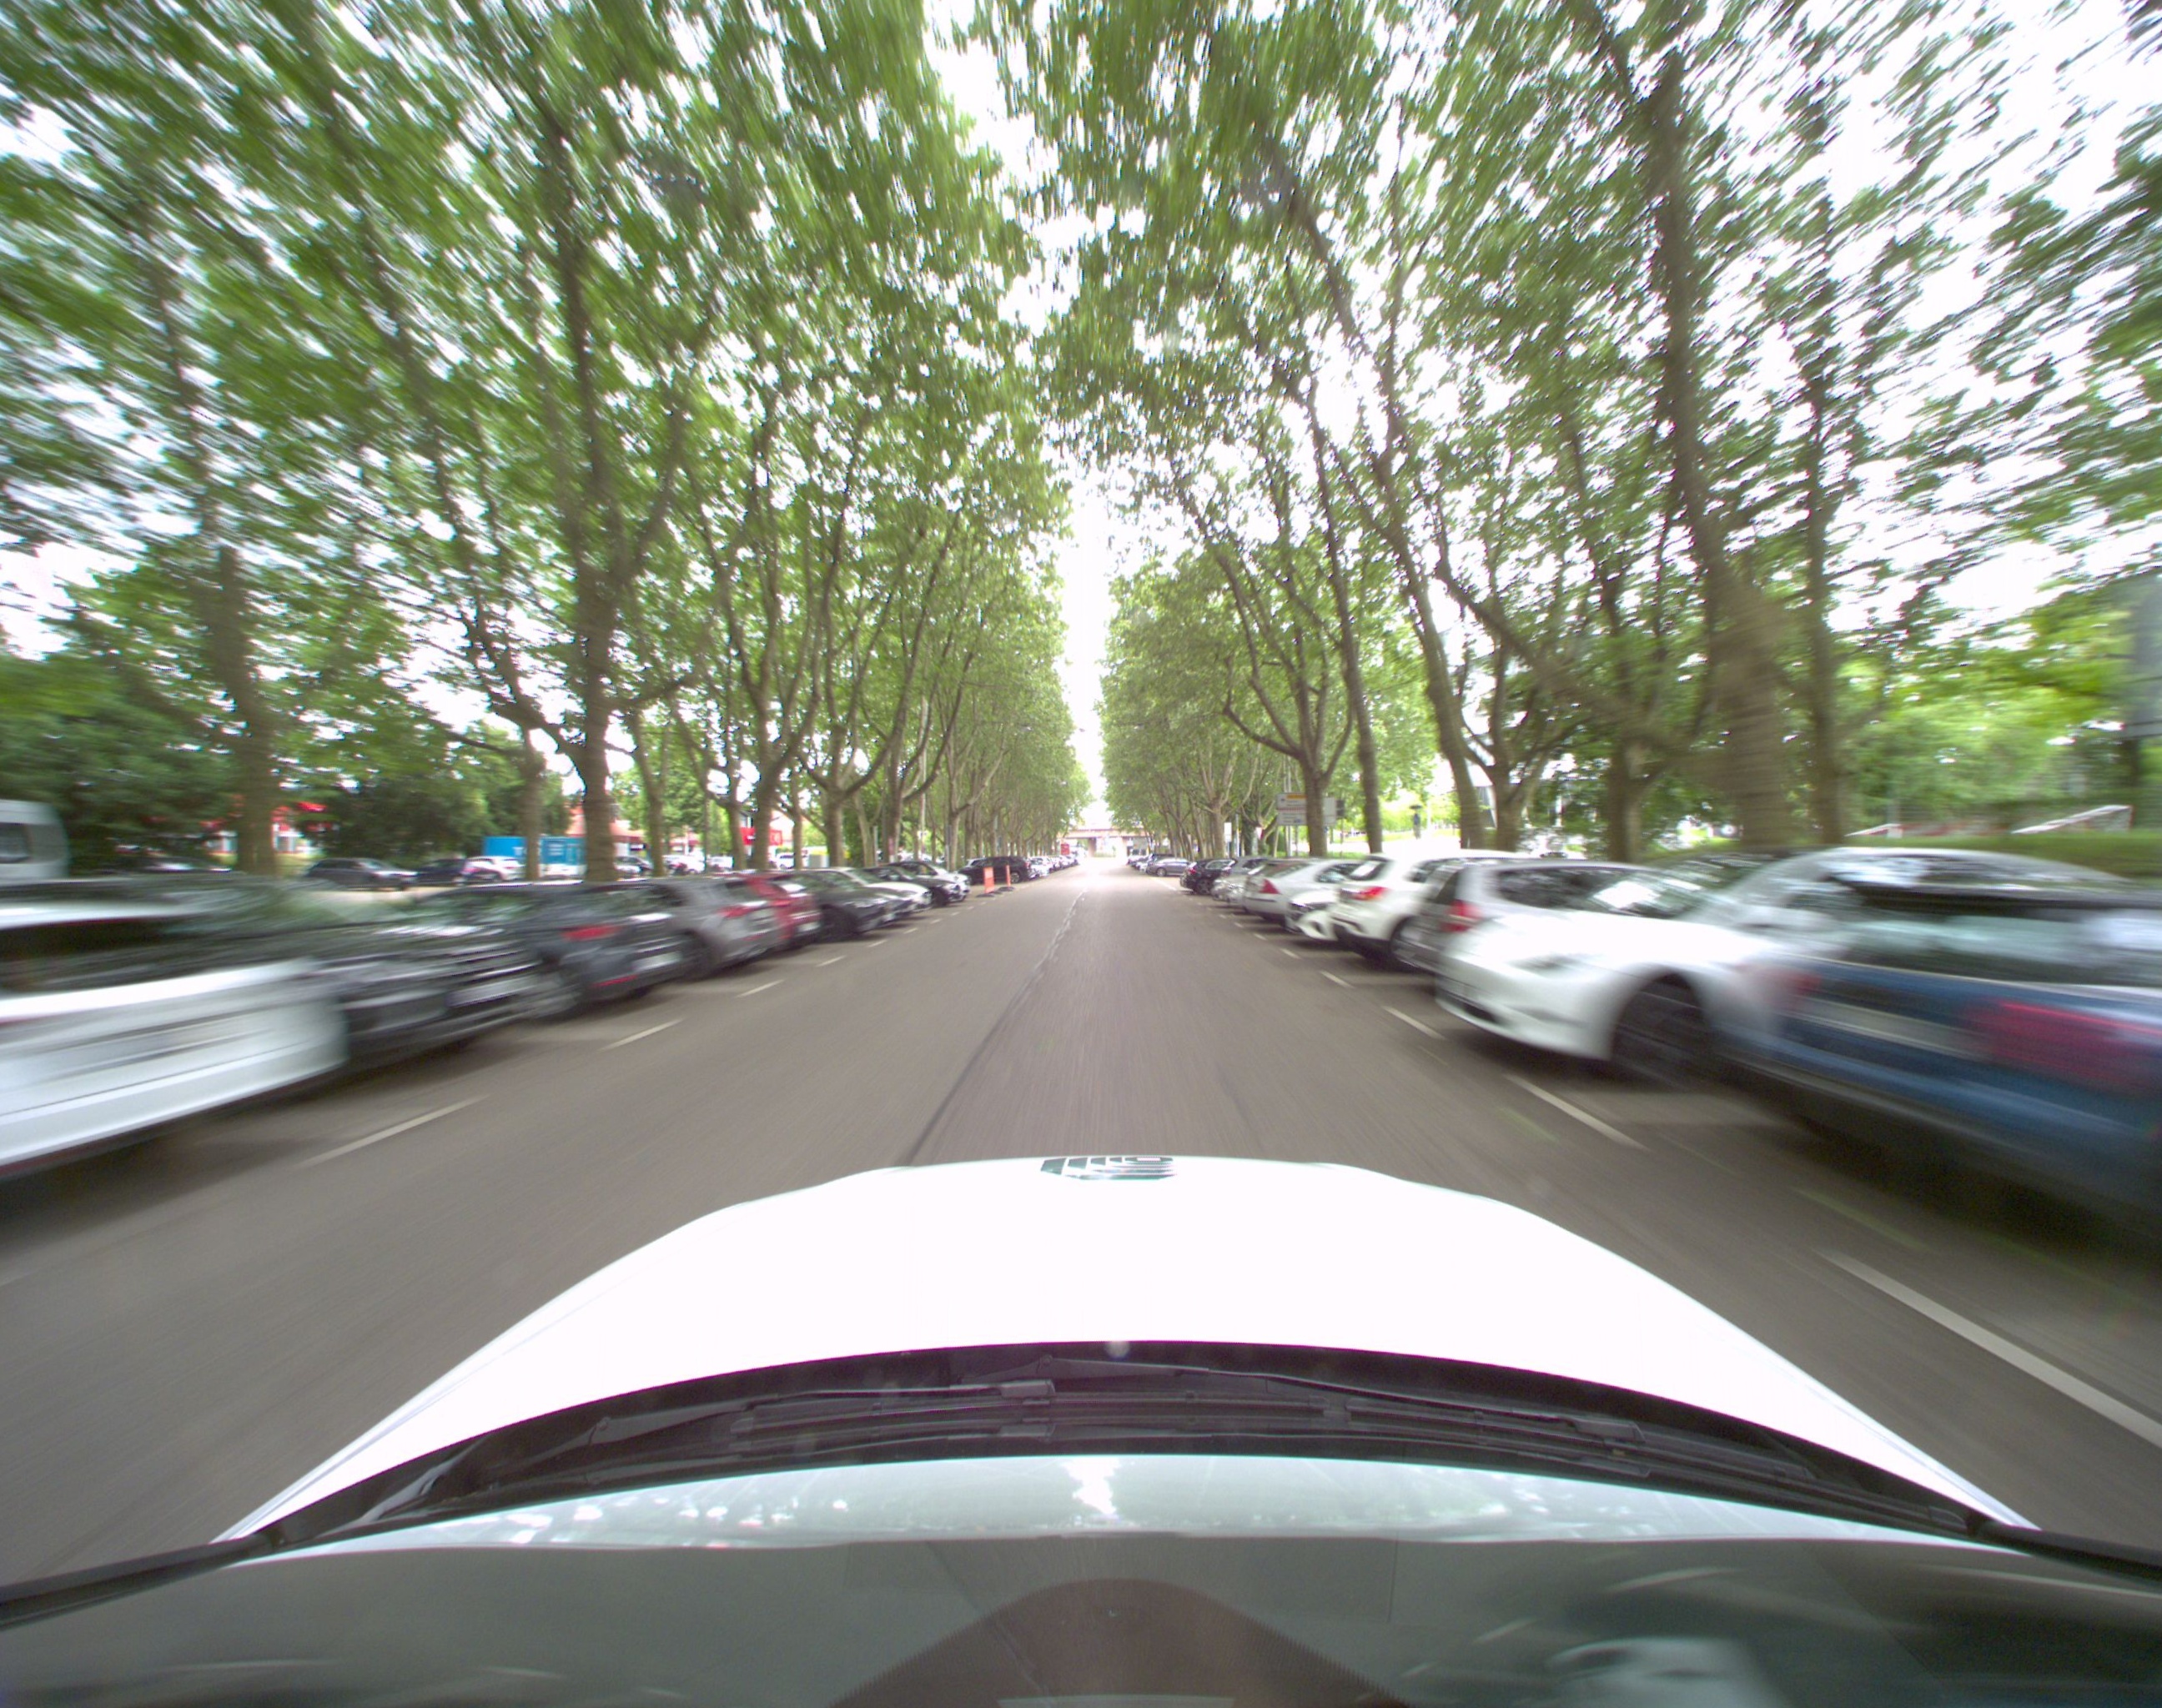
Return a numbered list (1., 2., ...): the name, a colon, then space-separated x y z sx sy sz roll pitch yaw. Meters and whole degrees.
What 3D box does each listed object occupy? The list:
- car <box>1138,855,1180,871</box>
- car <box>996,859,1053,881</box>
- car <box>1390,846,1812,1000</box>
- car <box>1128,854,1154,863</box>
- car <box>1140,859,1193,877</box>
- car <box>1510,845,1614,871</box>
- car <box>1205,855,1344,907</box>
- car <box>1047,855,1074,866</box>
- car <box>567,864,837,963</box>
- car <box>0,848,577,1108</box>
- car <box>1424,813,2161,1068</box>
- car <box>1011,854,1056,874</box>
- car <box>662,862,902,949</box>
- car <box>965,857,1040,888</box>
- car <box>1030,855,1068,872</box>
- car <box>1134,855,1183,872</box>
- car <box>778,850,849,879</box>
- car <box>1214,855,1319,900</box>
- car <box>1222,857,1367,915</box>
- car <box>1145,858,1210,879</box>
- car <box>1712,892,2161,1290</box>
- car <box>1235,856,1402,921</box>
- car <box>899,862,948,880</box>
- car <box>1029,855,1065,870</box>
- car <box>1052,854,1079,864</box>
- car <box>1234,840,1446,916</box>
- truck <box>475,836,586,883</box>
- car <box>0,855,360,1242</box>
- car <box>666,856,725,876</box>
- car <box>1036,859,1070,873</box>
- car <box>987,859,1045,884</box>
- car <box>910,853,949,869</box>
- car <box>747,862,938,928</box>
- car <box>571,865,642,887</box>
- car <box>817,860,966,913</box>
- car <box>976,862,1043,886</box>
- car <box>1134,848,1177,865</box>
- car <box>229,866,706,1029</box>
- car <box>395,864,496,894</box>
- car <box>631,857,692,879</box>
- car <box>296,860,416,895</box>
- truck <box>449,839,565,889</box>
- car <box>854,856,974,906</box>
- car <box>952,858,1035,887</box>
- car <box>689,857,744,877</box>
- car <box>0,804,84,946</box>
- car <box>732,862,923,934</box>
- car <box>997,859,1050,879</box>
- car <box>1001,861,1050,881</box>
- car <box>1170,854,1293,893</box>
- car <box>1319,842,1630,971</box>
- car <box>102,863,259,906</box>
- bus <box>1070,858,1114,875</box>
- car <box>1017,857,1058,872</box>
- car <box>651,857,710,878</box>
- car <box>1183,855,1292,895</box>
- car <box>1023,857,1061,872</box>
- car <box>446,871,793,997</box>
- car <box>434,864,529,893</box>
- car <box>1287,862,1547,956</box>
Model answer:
1. car: 7.670 0.874 80.421 4.036 1.468 1.730 0 0 -1
2. car: -4.055 1.165 58.522 3.794 1.354 1.665 -3 0 7
3. car: 5.506 0.686 8.926 3.636 1.519 1.642 0 0 -2
4. car: 10.298 0.756 139.900 4.359 1.523 1.732 0 0 2
5. car: 6.878 1.098 65.403 4.154 1.442 1.734 0 0 6
6. car: 28.170 0.238 47.766 4.916 1.402 2.000 -1 0 0
7. car: 5.552 0.759 23.609 3.666 1.424 1.519 0 0 0
8. car: -2.952 0.981 118.372 3.796 1.515 1.688 0 0 4
9. car: -6.411 0.982 14.021 3.808 1.429 1.697 -2 0 5
10. car: -6.449 0.839 6.322 3.817 1.608 1.857 -2 0 -2
11. car: 5.029 0.547 6.116 4.155 1.596 1.853 0 0 -2
12. car: -4.434 0.938 76.229 3.794 1.602 1.789 -3 0 7
13. car: -5.728 0.955 15.956 4.010 1.429 1.693 -2 0 -2
14. car: -4.925 1.135 51.328 4.457 1.677 1.762 -3 0 0
15. car: -3.381 0.983 86.368 3.794 1.515 1.689 -3 0 7
16. car: 6.712 0.802 70.506 4.154 1.442 1.734 0 0 6
17. car: -21.142 0.847 64.358 5.061 2.232 1.535 0 0 0
18. car: 6.526 0.810 28.853 3.413 1.508 1.555 0 0 0
19. car: 5.425 0.797 20.991 3.410 1.424 1.521 0 0 3
20. car: 6.887 1.016 58.208 4.550 1.486 2.004 0 0 6
21. car: 5.307 0.905 3.793 3.636 1.371 1.518 0 0 -2
22. car: 5.399 0.768 18.782 3.416 1.424 1.518 0 0 -2
23. car: -17.937 1.938 93.111 5.053 2.014 2.178 0 0 5
24. car: -3.787 0.917 91.357 3.794 1.515 1.689 -3 0 7
25. car: -2.295 0.701 120.459 3.796 1.515 1.688 0 0 4
26. car: 5.109 0.447 16.429 3.636 1.424 1.984 0 0 -2
27. truck: -33.317 0.310 49.430 5.217 2.742 2.207 0 0 1
28. car: -6.145 0.836 3.862 3.816 1.497 1.693 -2 0 -2
29. car: -31.148 0.933 65.848 3.962 1.590 1.699 0 0 10
30. car: -3.385 1.462 98.945 3.794 1.515 1.689 -3 0 7
31. car: -4.431 1.193 56.193 3.801 1.484 1.662 -3 0 0
32. car: -19.137 0.893 103.057 4.331 2.014 2.178 0 0 5
33. car: -6.089 1.029 21.136 4.389 1.429 1.693 -2 0 -2
34. car: -31.148 1.430 53.481 3.743 1.349 1.535 0 0 0
35. car: -5.994 1.014 26.067 4.321 1.429 1.693 -2 0 -2
36. car: -4.710 1.316 54.099 4.153 1.381 1.871 -3 0 0
37. car: 7.797 0.279 85.805 4.364 1.751 1.730 0 0 -1
38. car: -6.494 0.941 8.979 3.814 1.429 1.802 -2 0 0
39. car: -32.340 1.261 41.494 3.789 1.486 1.679 0 0 0
40. car: -31.353 1.037 60.909 3.744 1.590 1.535 0 0 -1
41. car: -32.361 1.022 36.422 3.789 1.486 1.679 0 0 0
42. truck: -32.780 0.546 46.586 5.293 2.742 1.929 0 0 1
43. car: -5.843 0.940 28.812 3.816 1.554 1.693 -2 0 -2
44. car: -5.147 1.072 48.425 4.649 1.427 2.000 -3 0 0
45. car: -30.852 1.096 68.947 3.962 1.590 1.699 0 0 10
46. car: -22.626 0.371 15.161 5.764 2.597 2.001 0 0 2
47. car: -5.765 0.983 18.853 3.816 1.430 1.693 -2 -1 -2
48. car: -4.526 1.202 64.220 3.794 1.330 1.665 -3 0 7
49. car: -4.711 1.420 68.994 3.794 1.484 1.665 -3 0 7
50. car: 6.034 0.762 33.106 4.644 1.452 1.926 1 0 0
51. car: 5.350 0.685 11.341 3.636 1.667 1.518 0 0 -2
52. car: -32.569 1.090 29.522 3.789 1.486 1.679 0 0 0
53. bus: 2.631 3.292 205.968 11.460 3.971 2.470 -2 -1 33
54. car: -4.348 1.004 81.399 3.794 1.296 1.789 -3 0 7
55. car: -31.056 1.070 63.202 3.744 1.590 1.535 0 0 -1
56. car: 5.921 0.772 31.116 3.905 1.452 1.555 0 0 0
57. car: -4.252 1.148 89.007 3.794 1.515 1.689 -3 0 7
58. car: -6.289 1.049 11.434 3.816 1.429 1.693 -2 0 -2
59. car: -32.119 1.296 43.729 3.789 1.486 1.712 0 0 0
60. car: 5.360 0.854 13.266 3.636 1.410 1.518 0 0 -2
